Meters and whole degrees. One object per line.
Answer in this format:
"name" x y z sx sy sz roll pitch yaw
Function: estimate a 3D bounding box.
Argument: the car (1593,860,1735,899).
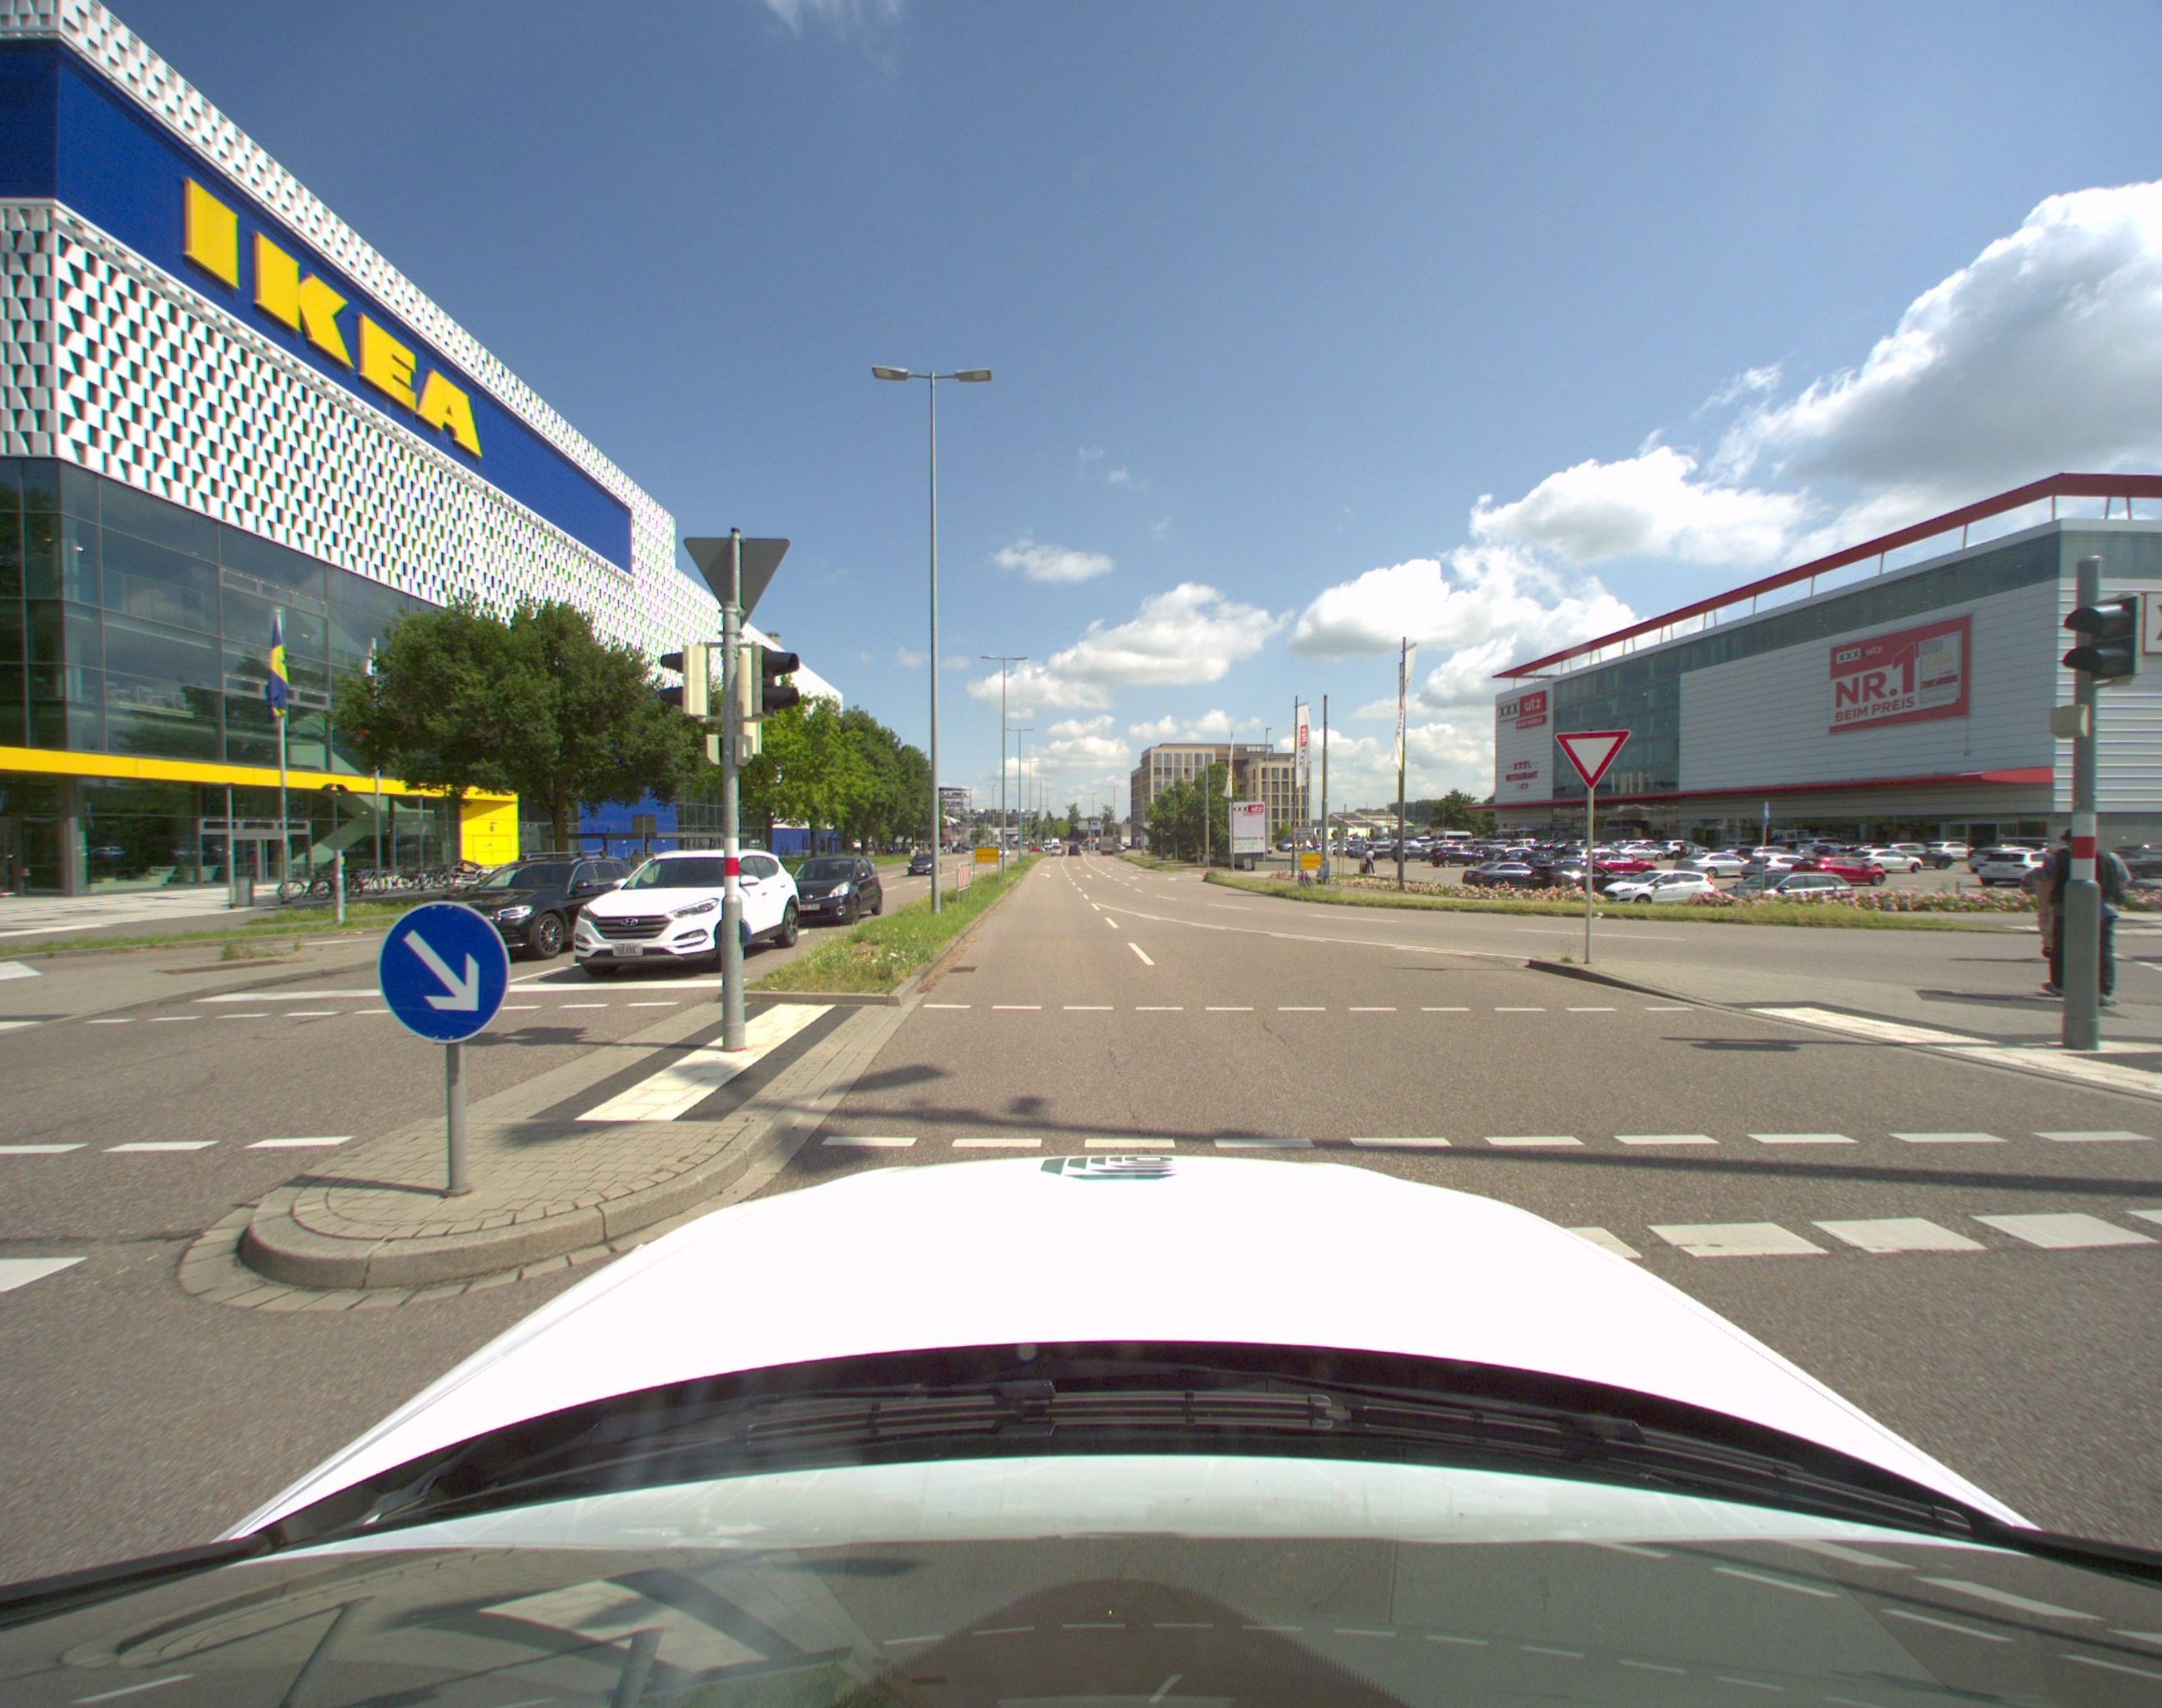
"car" 22.681 0.987 31.797 4.347 1.440 1.795 0 0 -2

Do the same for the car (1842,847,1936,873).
"car" 47.749 0.350 48.149 3.976 1.451 1.668 1 1 -2

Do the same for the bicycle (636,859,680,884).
"bicycle" -21.986 0.890 42.309 1.920 1.272 0.629 1 1 -3

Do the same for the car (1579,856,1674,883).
"car" 31.723 0.880 47.461 4.345 1.362 1.846 -1 2 -1

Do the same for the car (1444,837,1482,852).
"car" 50.095 -1.260 106.850 3.977 1.951 1.999 1 1 -2

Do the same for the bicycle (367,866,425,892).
"bicycle" -29.490 1.065 35.077 1.932 1.070 0.528 0 0 -7

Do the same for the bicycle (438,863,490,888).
"bicycle" -29.830 1.044 39.390 1.929 1.130 0.562 -1 0 -7

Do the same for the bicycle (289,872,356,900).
"bicycle" -29.396 1.221 31.573 1.932 1.070 0.528 0 0 -7

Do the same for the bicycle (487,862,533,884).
"bicycle" -30.375 0.988 43.355 1.929 1.105 0.562 -1 0 -7

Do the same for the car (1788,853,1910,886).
"car" 37.780 0.740 40.131 4.345 1.427 1.846 -1 2 -1

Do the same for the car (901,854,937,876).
"car" -11.002 0.741 55.623 1.660 1.421 4.514 -2 0 -3

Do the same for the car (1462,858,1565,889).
"car" 22.148 0.990 41.792 4.345 1.476 1.856 -1 0 -1

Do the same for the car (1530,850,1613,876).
"car" 31.524 0.569 52.378 4.345 1.508 1.682 -1 0 -1

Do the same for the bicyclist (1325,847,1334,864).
"bicyclist" 21.945 0.129 71.958 0.613 1.413 0.714 0 1 -2

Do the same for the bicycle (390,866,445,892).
"bicycle" -29.555 1.113 36.284 1.927 1.089 0.519 0 1 -7

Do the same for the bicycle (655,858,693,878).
"bicycle" -24.208 0.830 48.503 1.920 1.179 0.629 1 1 -3

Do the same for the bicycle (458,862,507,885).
"bicycle" -30.039 0.968 40.892 1.929 1.130 0.562 -1 0 -7

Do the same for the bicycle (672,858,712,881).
"bicycle" -22.012 0.854 46.052 1.920 1.272 0.629 1 1 -3

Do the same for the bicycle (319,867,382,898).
"bicycle" -29.427 1.136 32.831 1.953 1.172 0.467 -1 0 -7

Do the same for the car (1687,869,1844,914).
"car" 22.891 1.242 27.299 3.979 1.418 1.713 0 0 -4

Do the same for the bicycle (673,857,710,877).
"bicycle" -24.174 0.808 50.544 1.920 1.183 0.629 1 1 -3

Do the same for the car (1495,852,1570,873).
"car" 31.755 0.581 57.345 4.345 1.362 1.846 -1 2 -1

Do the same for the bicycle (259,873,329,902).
"bicycle" -29.164 1.235 30.186 1.932 1.070 0.528 0 0 -7

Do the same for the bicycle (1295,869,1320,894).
"bicycle" 9.376 1.130 33.748 0.516 0.952 1.542 1 0 -2

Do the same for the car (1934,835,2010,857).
"car" 63.381 -0.589 57.950 3.631 1.522 1.679 1 1 -2

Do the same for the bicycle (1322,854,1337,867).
"bicycle" 21.944 0.553 71.969 0.621 1.068 1.967 -1 1 -1

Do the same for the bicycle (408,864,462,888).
"bicycle" -29.697 1.019 37.446 1.932 1.070 0.528 0 0 -7

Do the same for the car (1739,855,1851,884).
"car" 37.557 0.799 42.883 4.345 1.362 1.846 -1 2 -1

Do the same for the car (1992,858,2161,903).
"car" 37.388 0.959 30.476 4.345 1.408 2.049 -2 1 -1

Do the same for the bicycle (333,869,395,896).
"bicycle" -29.481 1.172 33.514 1.932 1.070 0.528 0 0 -7

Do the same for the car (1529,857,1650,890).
"car" 22.799 0.874 36.626 4.347 1.416 1.855 0 0 -2

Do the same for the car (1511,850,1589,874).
"car" 31.611 0.503 54.929 4.345 1.442 1.626 -1 1 -1

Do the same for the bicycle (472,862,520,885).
"bicycle" -30.227 0.991 42.091 1.929 1.130 0.562 -1 0 -7

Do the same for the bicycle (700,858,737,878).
"bicycle" -22.161 0.867 49.810 1.920 1.183 0.629 1 1 -3

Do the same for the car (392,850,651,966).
"car" -9.263 0.830 13.953 1.766 1.615 3.996 -2 -1 -3

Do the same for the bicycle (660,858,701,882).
"bicycle" -22.029 0.897 44.786 1.920 1.272 0.629 1 1 -3

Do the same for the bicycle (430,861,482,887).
"bicycle" -29.774 0.951 38.799 1.932 1.209 0.528 0 0 -7
